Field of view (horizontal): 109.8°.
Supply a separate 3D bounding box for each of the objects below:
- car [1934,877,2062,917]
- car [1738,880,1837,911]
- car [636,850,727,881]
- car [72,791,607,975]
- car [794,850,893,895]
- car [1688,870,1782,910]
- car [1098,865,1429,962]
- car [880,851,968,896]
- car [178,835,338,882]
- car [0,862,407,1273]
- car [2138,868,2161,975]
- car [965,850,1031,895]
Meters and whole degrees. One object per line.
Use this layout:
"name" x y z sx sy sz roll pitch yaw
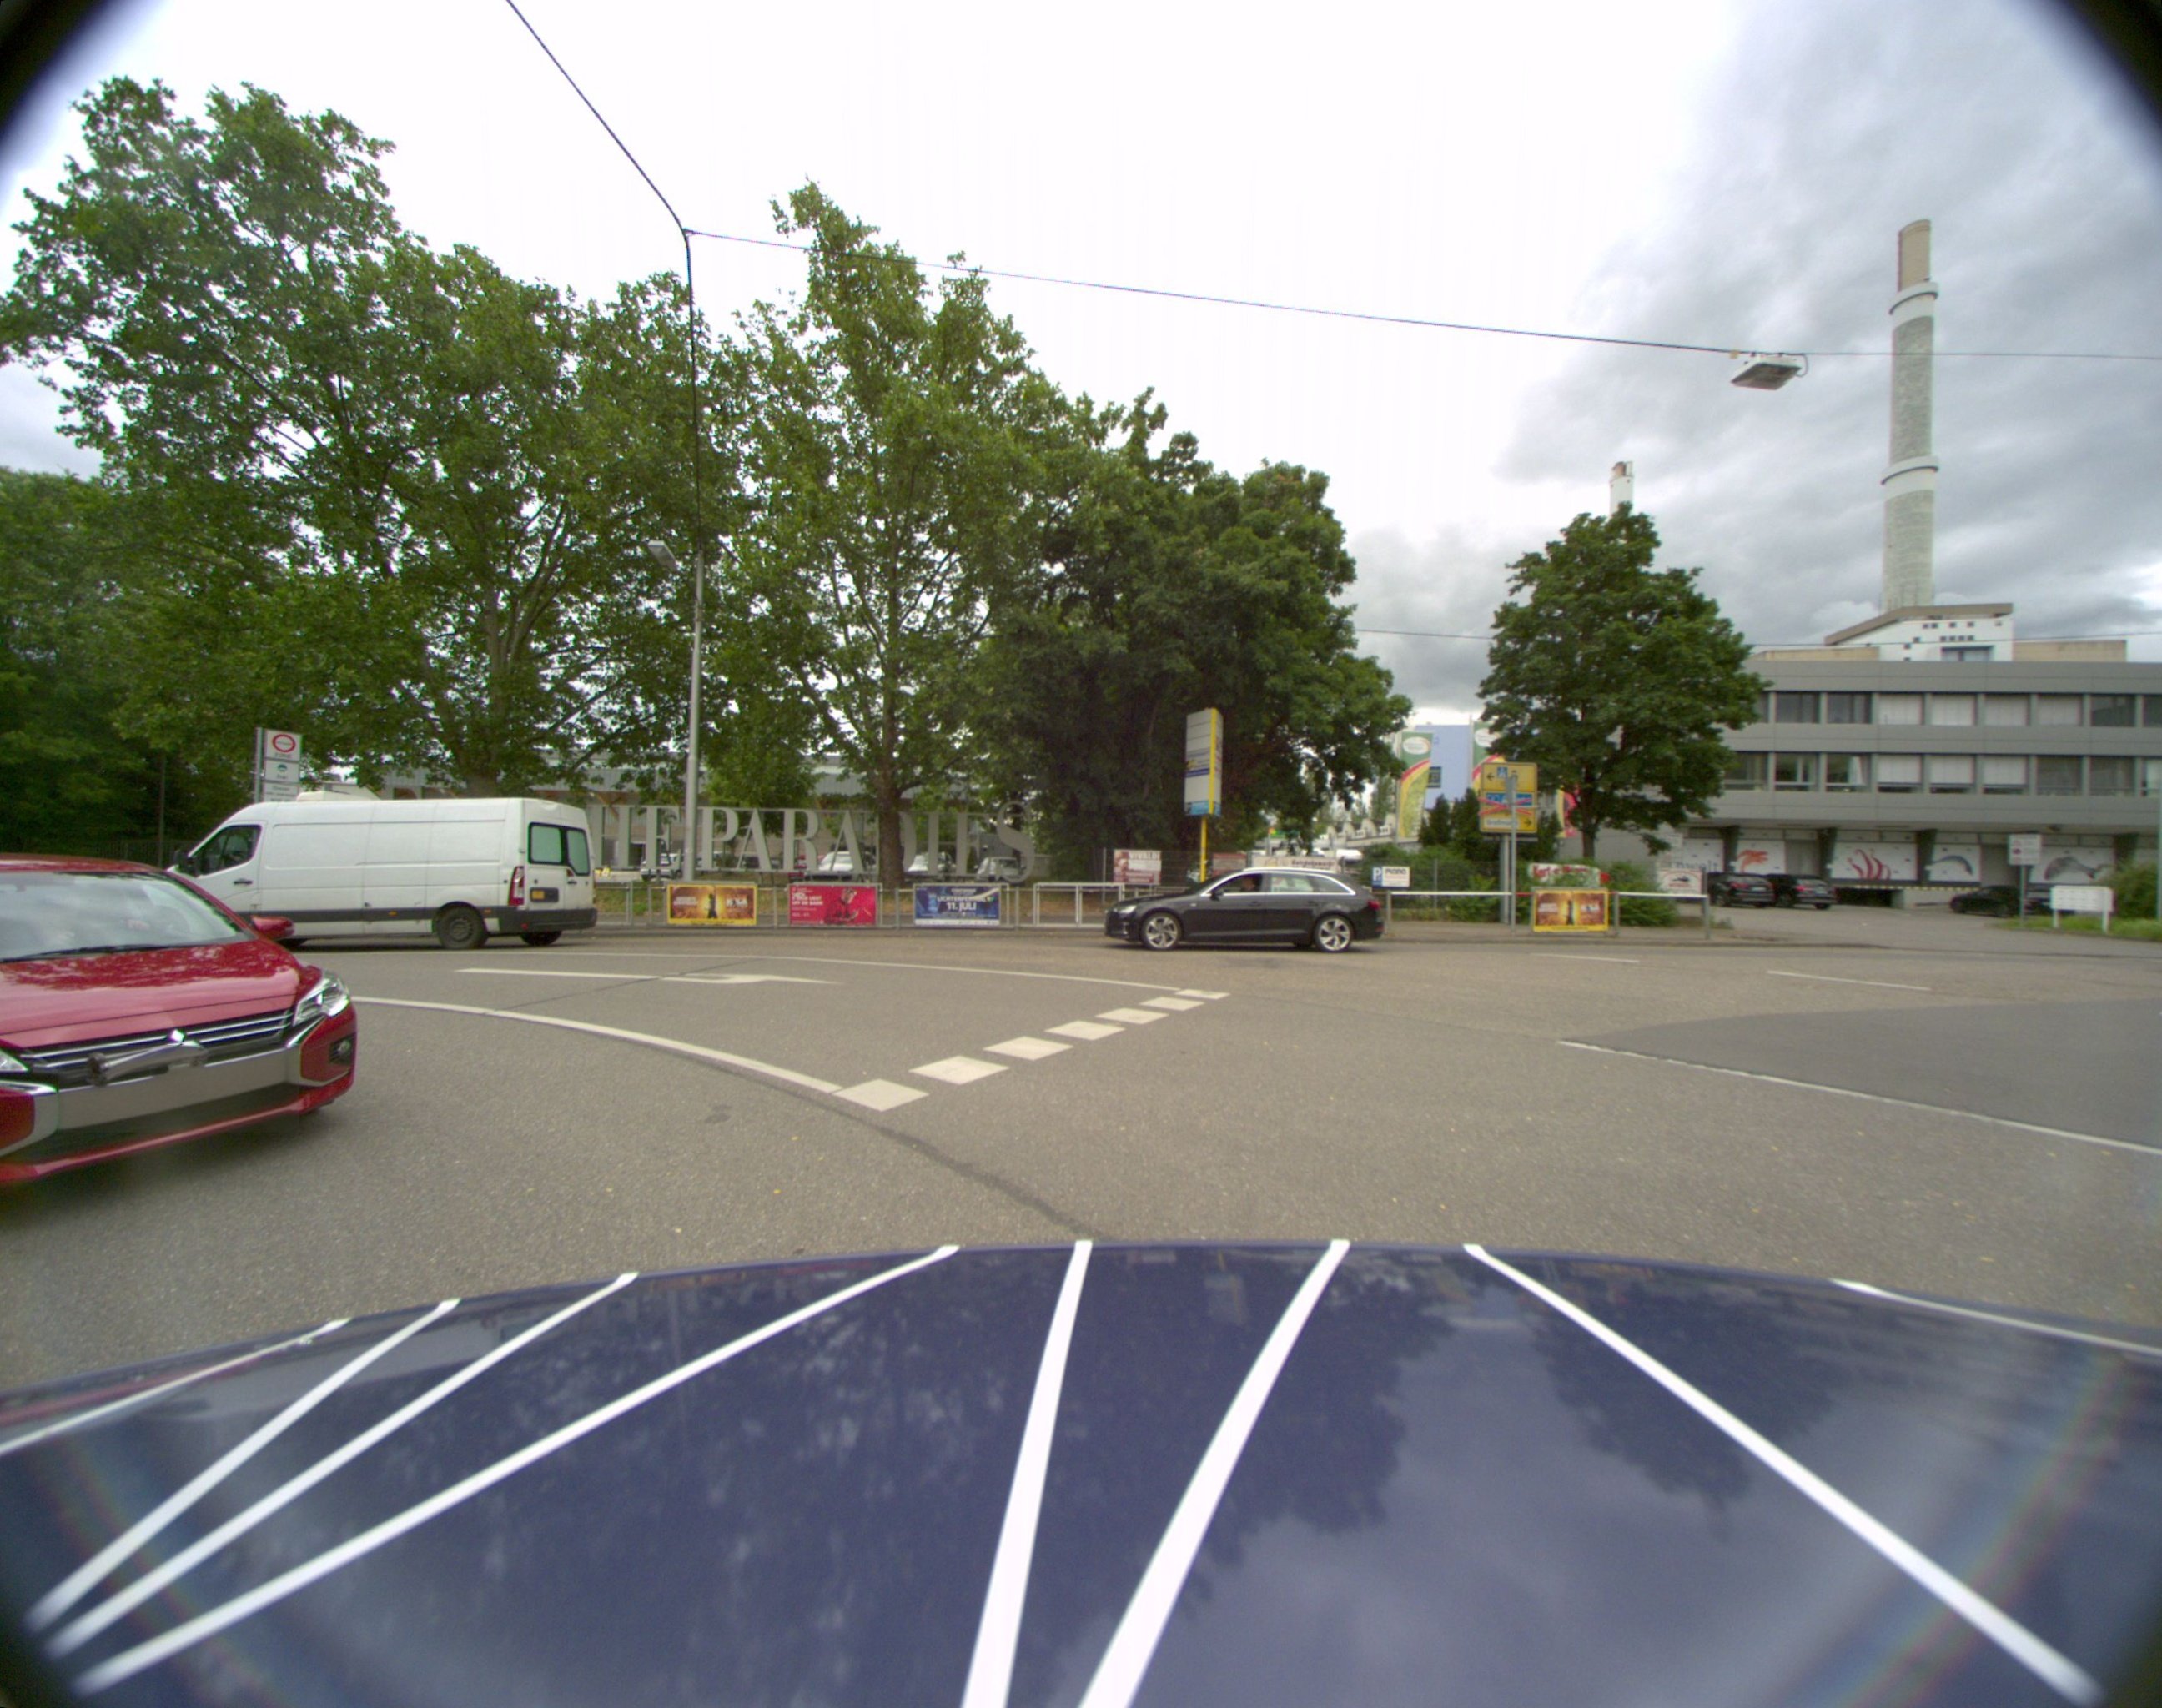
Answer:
"car" 41.980 1.938 34.914 1.747 1.543 3.611 -2 1 7
"car" 34.305 1.992 37.006 1.775 1.171 3.574 -2 1 7
"car" -20.967 0.572 40.164 1.937 1.423 5.251 -2 1 0
"car" -11.831 0.419 12.537 6.479 2.527 2.192 -2 1 -1
"car" -8.915 0.641 29.014 1.998 1.449 4.701 -2 1 4
"car" 31.805 1.721 37.102 1.775 1.669 3.574 -2 1 7
"car" 2.987 1.000 13.201 5.219 1.448 2.000 2 -2 -3
"car" -5.790 0.677 28.675 1.998 1.449 4.701 -2 1 4
"car" -30.168 0.196 28.045 1.916 1.566 3.770 2 -1 -5
"car" -5.686 0.823 3.910 3.731 1.521 1.771 0 1 21
"car" 20.039 1.215 12.382 4.232 1.761 1.831 3 -1 -14
"car" -3.067 0.643 29.131 1.999 1.449 4.699 -2 1 -1
